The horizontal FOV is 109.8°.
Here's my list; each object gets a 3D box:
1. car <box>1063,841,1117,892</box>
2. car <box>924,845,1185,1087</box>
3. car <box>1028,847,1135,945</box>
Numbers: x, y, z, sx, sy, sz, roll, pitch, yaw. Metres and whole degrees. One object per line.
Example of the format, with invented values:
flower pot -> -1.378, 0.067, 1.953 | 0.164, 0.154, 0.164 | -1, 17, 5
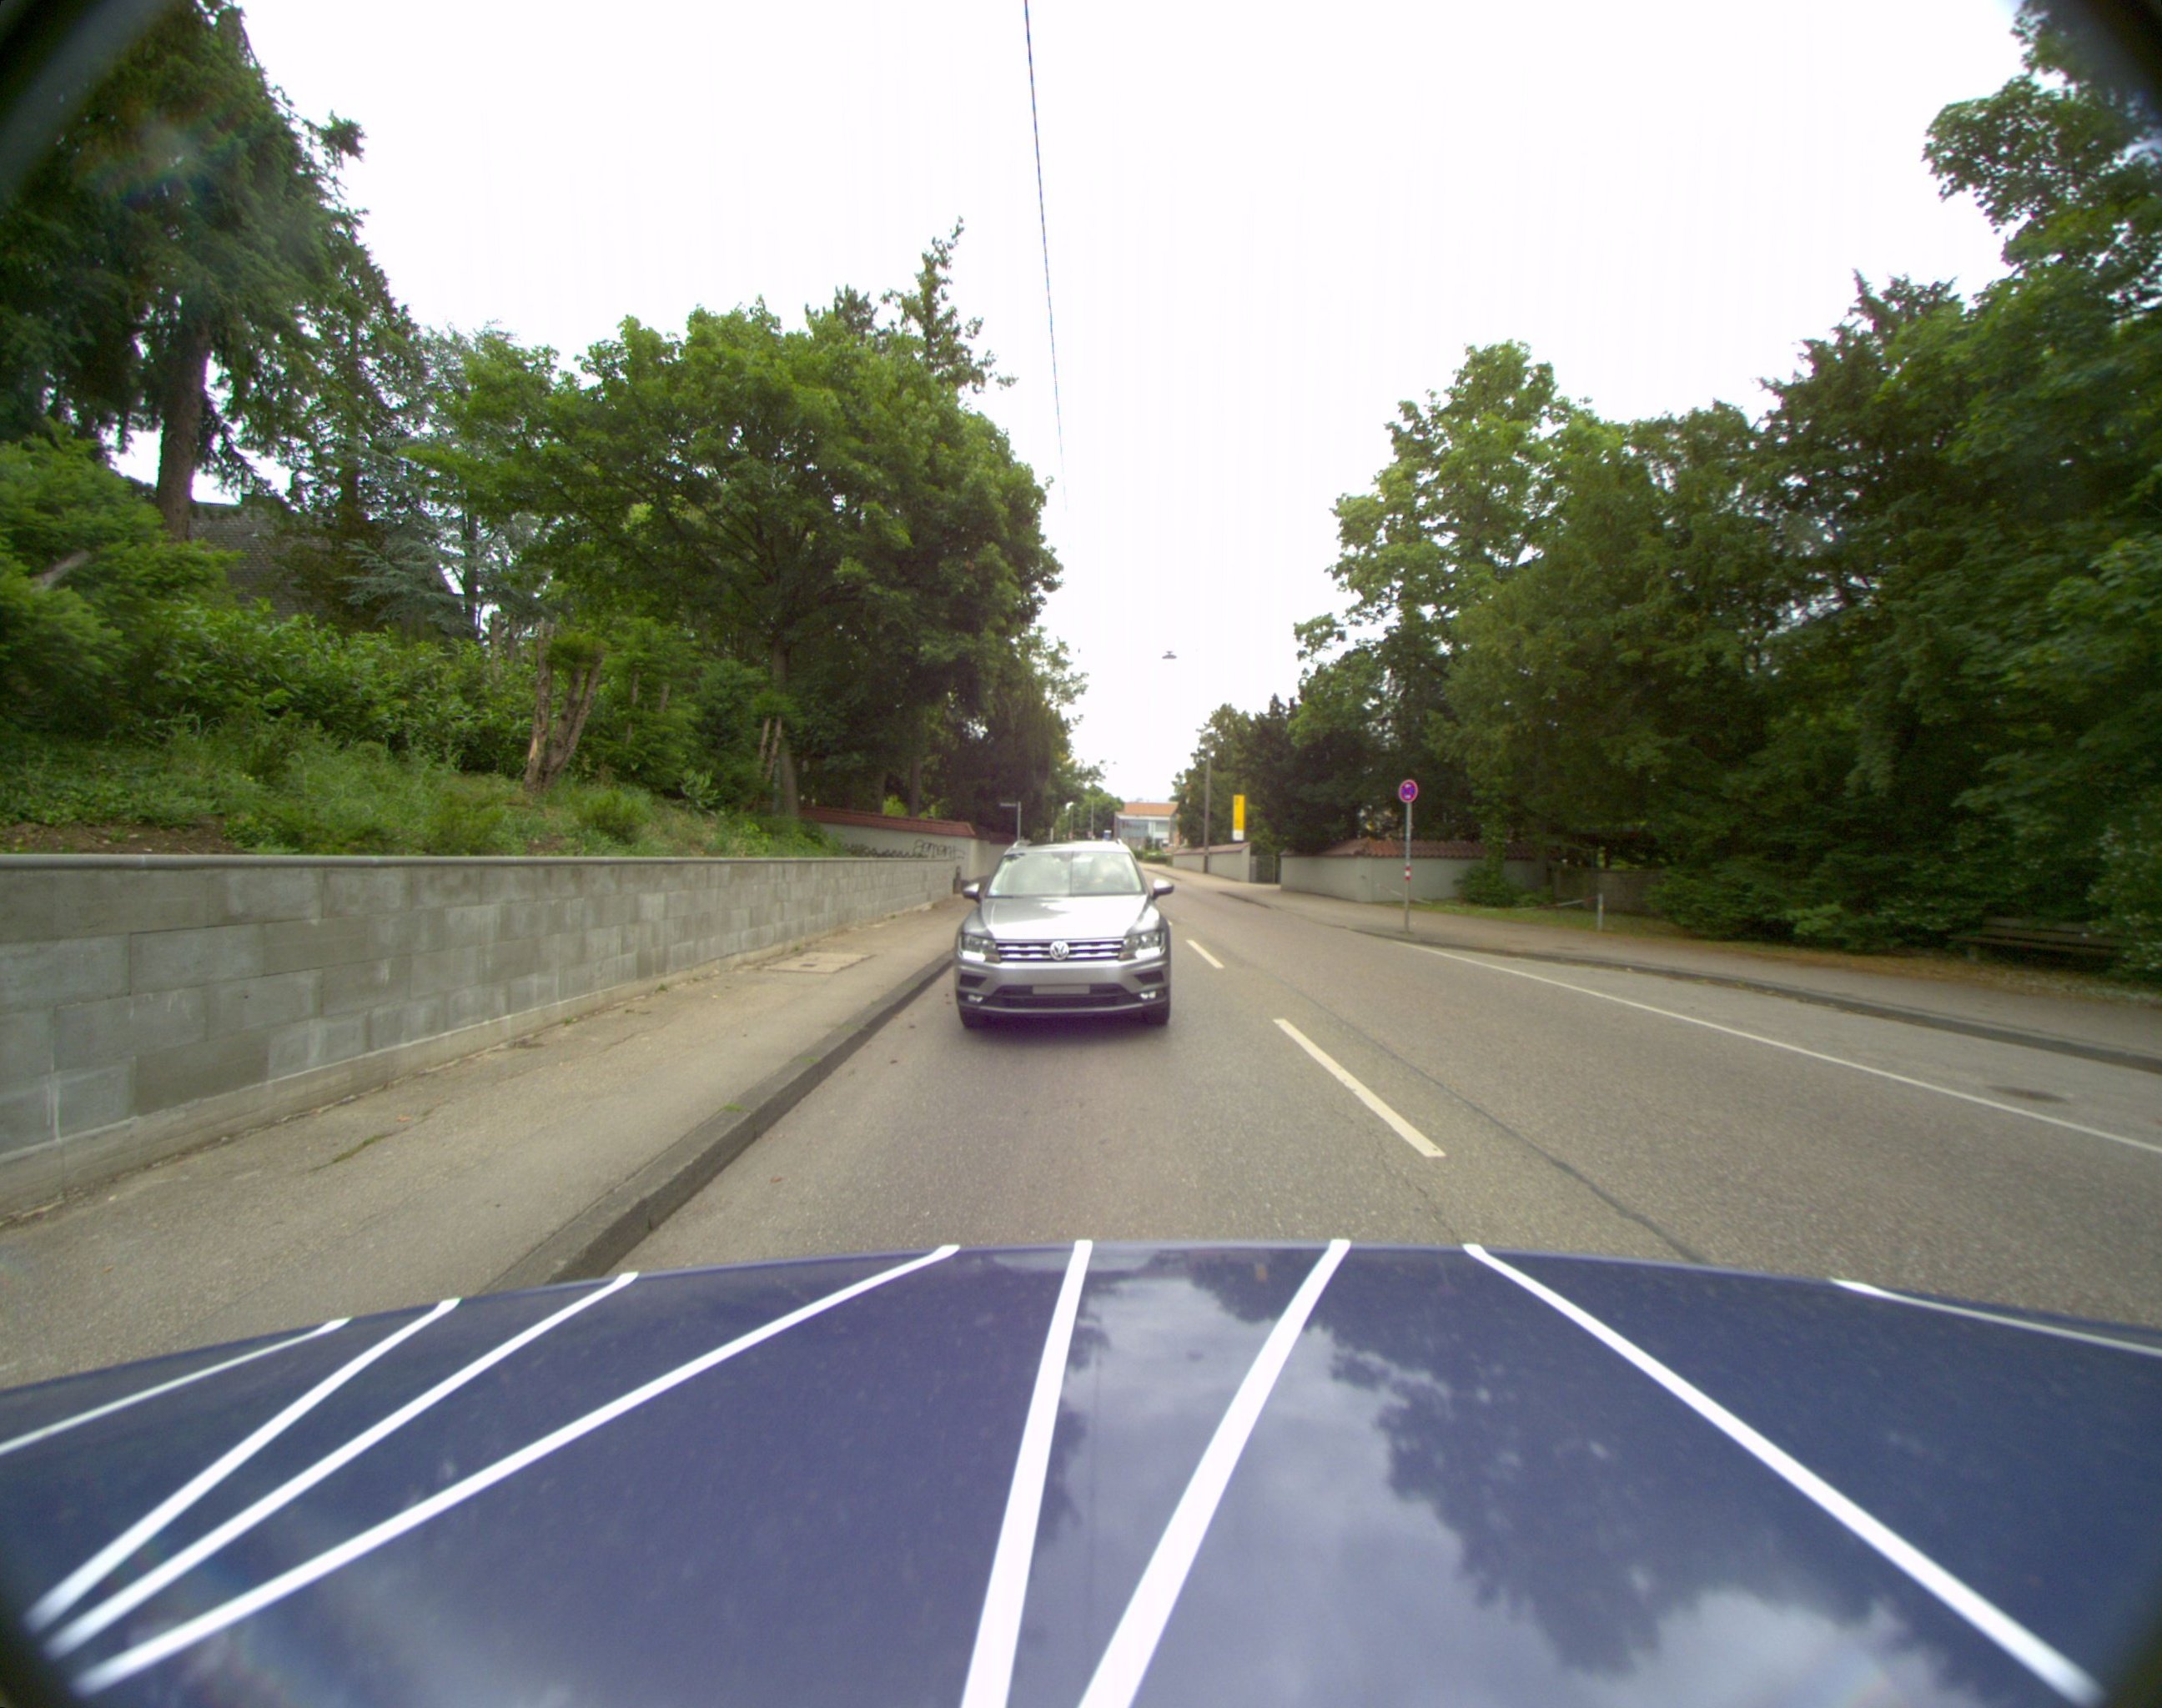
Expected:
car -> 0.324, 0.394, 28.022 | 1.820, 1.733, 4.487 | 0, 1, 0
car -> -0.173, 0.781, 7.769 | 1.820, 1.690, 4.718 | -1, 1, 0
car -> 0.018, 0.687, 15.111 | 1.820, 1.647, 4.487 | 0, 1, 0
